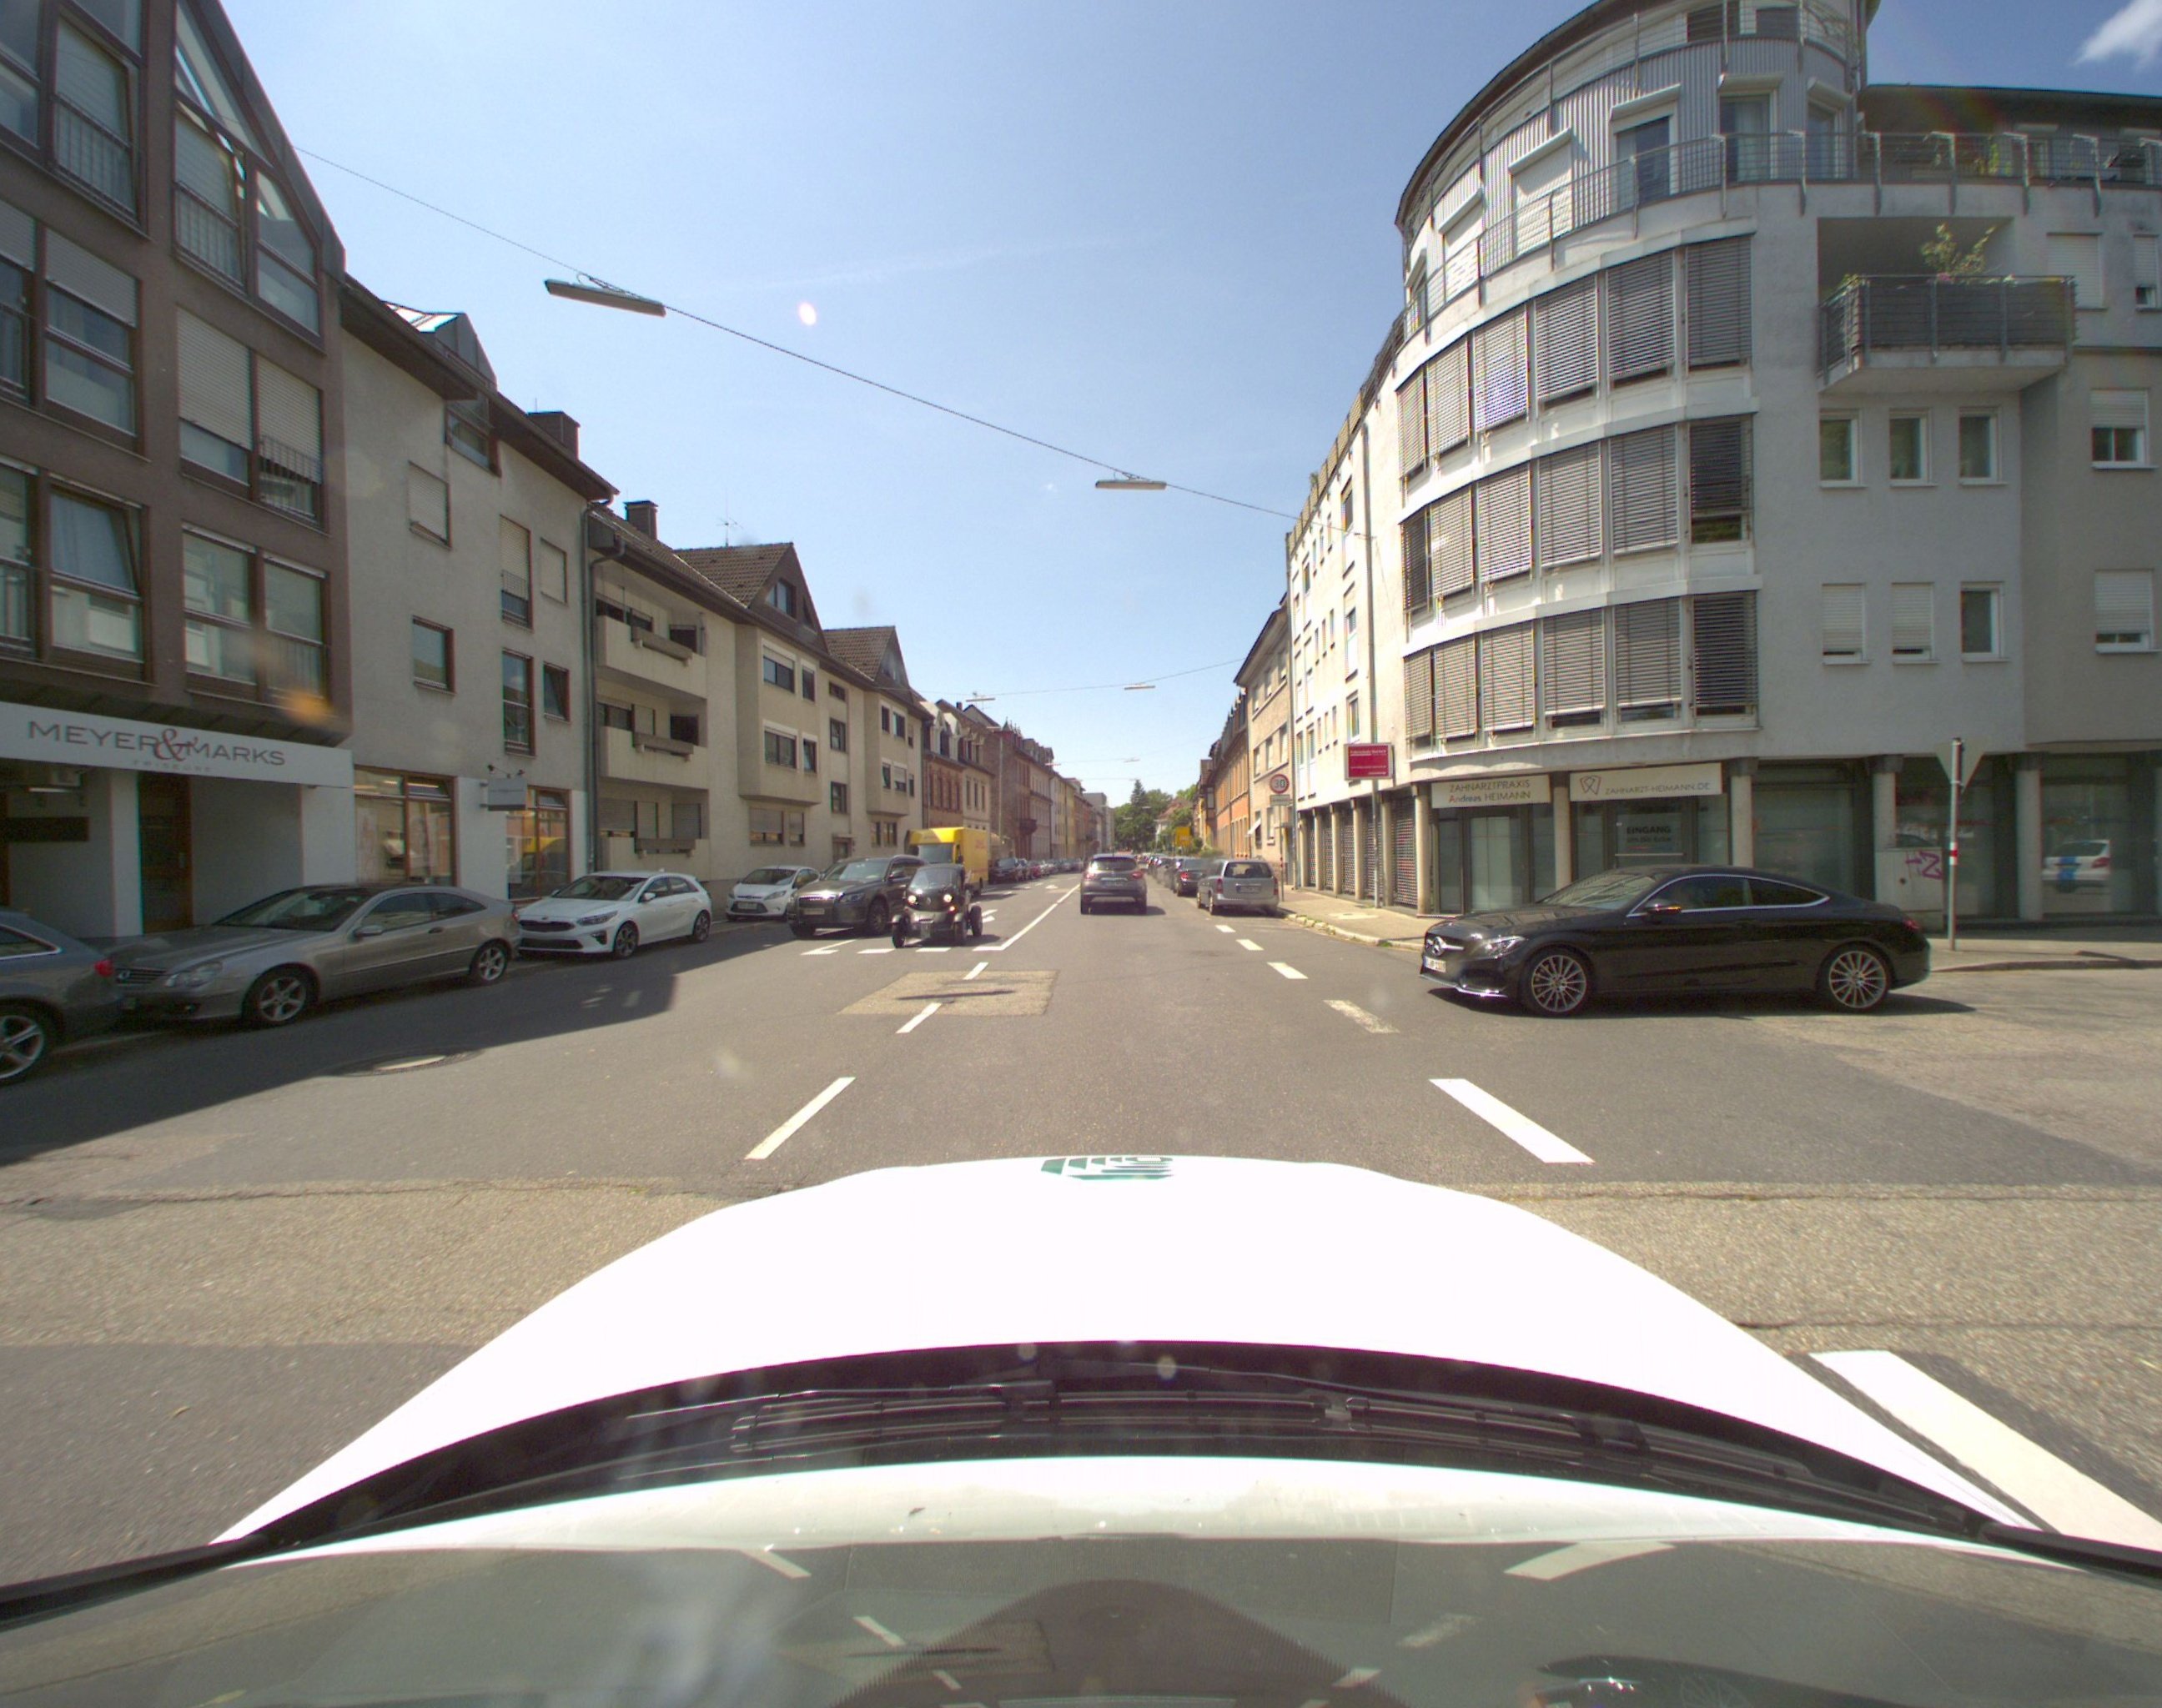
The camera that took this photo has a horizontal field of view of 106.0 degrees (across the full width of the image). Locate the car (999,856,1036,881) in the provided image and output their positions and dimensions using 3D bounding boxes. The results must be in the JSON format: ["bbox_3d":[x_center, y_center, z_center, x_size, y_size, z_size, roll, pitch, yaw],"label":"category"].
[{"bbox_3d":[-4.480,0.998,58.097,1.831,1.597,4.507,-4,-1,4],"label":"car"}]

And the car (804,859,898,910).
[{"bbox_3d":[-7.884,1.008,28.370,1.832,1.596,4.388,1,0,2],"label":"car"}]

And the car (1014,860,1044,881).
[{"bbox_3d":[-3.993,1.248,62.778,1.833,1.422,4.503,-4,0,1],"label":"car"}]

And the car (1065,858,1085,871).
[{"bbox_3d":[-0.690,1.234,97.820,1.830,1.422,4.565,-4,-1,6],"label":"car"}]

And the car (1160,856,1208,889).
[{"bbox_3d":[4.636,0.797,37.053,1.646,1.420,4.048,-1,0,0],"label":"car"}]

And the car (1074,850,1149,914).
[{"bbox_3d":[0.748,0.712,22.640,1.740,1.616,3.996,0,0,-3],"label":"car"}]

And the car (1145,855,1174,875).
[{"bbox_3d":[5.857,0.807,61.168,1.643,1.414,4.499,0,-1,-1],"label":"car"}]

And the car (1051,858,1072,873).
[{"bbox_3d":[-2.068,1.185,86.159,1.832,1.422,4.506,-3,-1,3],"label":"car"}]

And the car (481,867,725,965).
[{"bbox_3d":[-8.588,1.026,15.184,1.833,1.489,4.387,1,0,1],"label":"car"}]

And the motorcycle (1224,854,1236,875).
[{"bbox_3d":[8.946,0.641,48.909,0.593,1.225,1.363,-1,-1,4],"label":"motorcycle"}]

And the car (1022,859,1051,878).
[{"bbox_3d":[-3.727,1.197,69.221,1.831,1.422,4.507,-3,-1,4],"label":"car"}]

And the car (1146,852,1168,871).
[{"bbox_3d":[7.055,0.652,75.730,1.984,1.662,4.631,-2,0,5],"label":"car"}]

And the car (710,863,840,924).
[{"bbox_3d":[-8.472,1.028,22.986,1.832,1.489,4.388,1,0,2],"label":"car"}]

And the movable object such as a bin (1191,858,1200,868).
[{"bbox_3d":[10.652,0.858,75.557,0.785,0.907,0.539,-2,0,2],"label":"movable object such as a bin"}]

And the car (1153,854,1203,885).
[{"bbox_3d":[4.936,0.776,41.995,1.849,1.463,4.545,0,-1,-3],"label":"car"}]

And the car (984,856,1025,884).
[{"bbox_3d":[-4.830,1.007,52.156,1.831,1.597,4.507,-3,-1,4],"label":"car"}]

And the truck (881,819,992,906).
[{"bbox_3d":[-5.206,0.306,30.730,2.216,2.771,7.571,-3,0,4],"label":"truck"}]

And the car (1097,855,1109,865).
[{"bbox_3d":[3.902,1.133,142.688,1.897,1.620,4.304,-3,-1,2],"label":"car"}]

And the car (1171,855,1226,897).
[{"bbox_3d":[4.391,0.782,30.966,1.704,1.473,4.442,-1,0,3],"label":"car"}]

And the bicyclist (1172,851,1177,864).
[{"bbox_3d":[10.723,0.375,93.142,0.530,1.469,0.792,-2,-1,6],"label":"bicyclist"}]

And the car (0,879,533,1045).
[{"bbox_3d":[-9.012,1.065,9.705,1.832,1.384,4.329,1,0,3],"label":"car"}]

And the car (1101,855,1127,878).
[{"bbox_3d":[2.527,0.953,62.244,1.804,1.620,4.446,-3,-1,4],"label":"car"}]

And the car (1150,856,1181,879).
[{"bbox_3d":[5.425,0.843,52.549,1.694,1.380,4.169,0,-1,2],"label":"car"}]

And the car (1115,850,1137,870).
[{"bbox_3d":[4.838,0.643,87.277,1.983,2.013,4.475,-2,0,7],"label":"car"}]

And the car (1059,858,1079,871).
[{"bbox_3d":[-1.359,1.187,92.065,1.832,1.422,4.649,-3,-1,3],"label":"car"}]

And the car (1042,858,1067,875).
[{"bbox_3d":[-2.604,1.219,80.920,1.830,1.422,4.510,-5,-1,6],"label":"car"}]

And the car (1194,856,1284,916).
[{"bbox_3d":[4.119,0.784,21.858,1.672,1.454,4.143,0,0,1],"label":"car"}]

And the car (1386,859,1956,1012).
[{"bbox_3d":[5.855,0.760,8.557,4.566,1.365,2.000,-1,0,0],"label":"car"}]

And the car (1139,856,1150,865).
[{"bbox_3d":[10.683,1.079,136.956,1.754,1.560,3.950,-1,0,7],"label":"car"}]

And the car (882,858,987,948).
[{"bbox_3d":[-2.603,0.825,14.937,1.493,1.459,2.720,-1,0,-2],"label":"car"}]

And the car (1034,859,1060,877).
[{"bbox_3d":[-3.135,1.260,75.066,1.832,1.422,4.506,-6,-1,3],"label":"car"}]

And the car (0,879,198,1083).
[{"bbox_3d":[-9.019,0.952,4.865,1.832,1.447,4.973,1,0,3],"label":"car"}]

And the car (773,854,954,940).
[{"bbox_3d":[-4.615,0.846,18.052,1.798,1.620,4.460,-3,-1,15],"label":"car"}]

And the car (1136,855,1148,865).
[{"bbox_3d":[9.846,0.935,130.586,1.754,1.560,3.950,-1,0,7],"label":"car"}]
